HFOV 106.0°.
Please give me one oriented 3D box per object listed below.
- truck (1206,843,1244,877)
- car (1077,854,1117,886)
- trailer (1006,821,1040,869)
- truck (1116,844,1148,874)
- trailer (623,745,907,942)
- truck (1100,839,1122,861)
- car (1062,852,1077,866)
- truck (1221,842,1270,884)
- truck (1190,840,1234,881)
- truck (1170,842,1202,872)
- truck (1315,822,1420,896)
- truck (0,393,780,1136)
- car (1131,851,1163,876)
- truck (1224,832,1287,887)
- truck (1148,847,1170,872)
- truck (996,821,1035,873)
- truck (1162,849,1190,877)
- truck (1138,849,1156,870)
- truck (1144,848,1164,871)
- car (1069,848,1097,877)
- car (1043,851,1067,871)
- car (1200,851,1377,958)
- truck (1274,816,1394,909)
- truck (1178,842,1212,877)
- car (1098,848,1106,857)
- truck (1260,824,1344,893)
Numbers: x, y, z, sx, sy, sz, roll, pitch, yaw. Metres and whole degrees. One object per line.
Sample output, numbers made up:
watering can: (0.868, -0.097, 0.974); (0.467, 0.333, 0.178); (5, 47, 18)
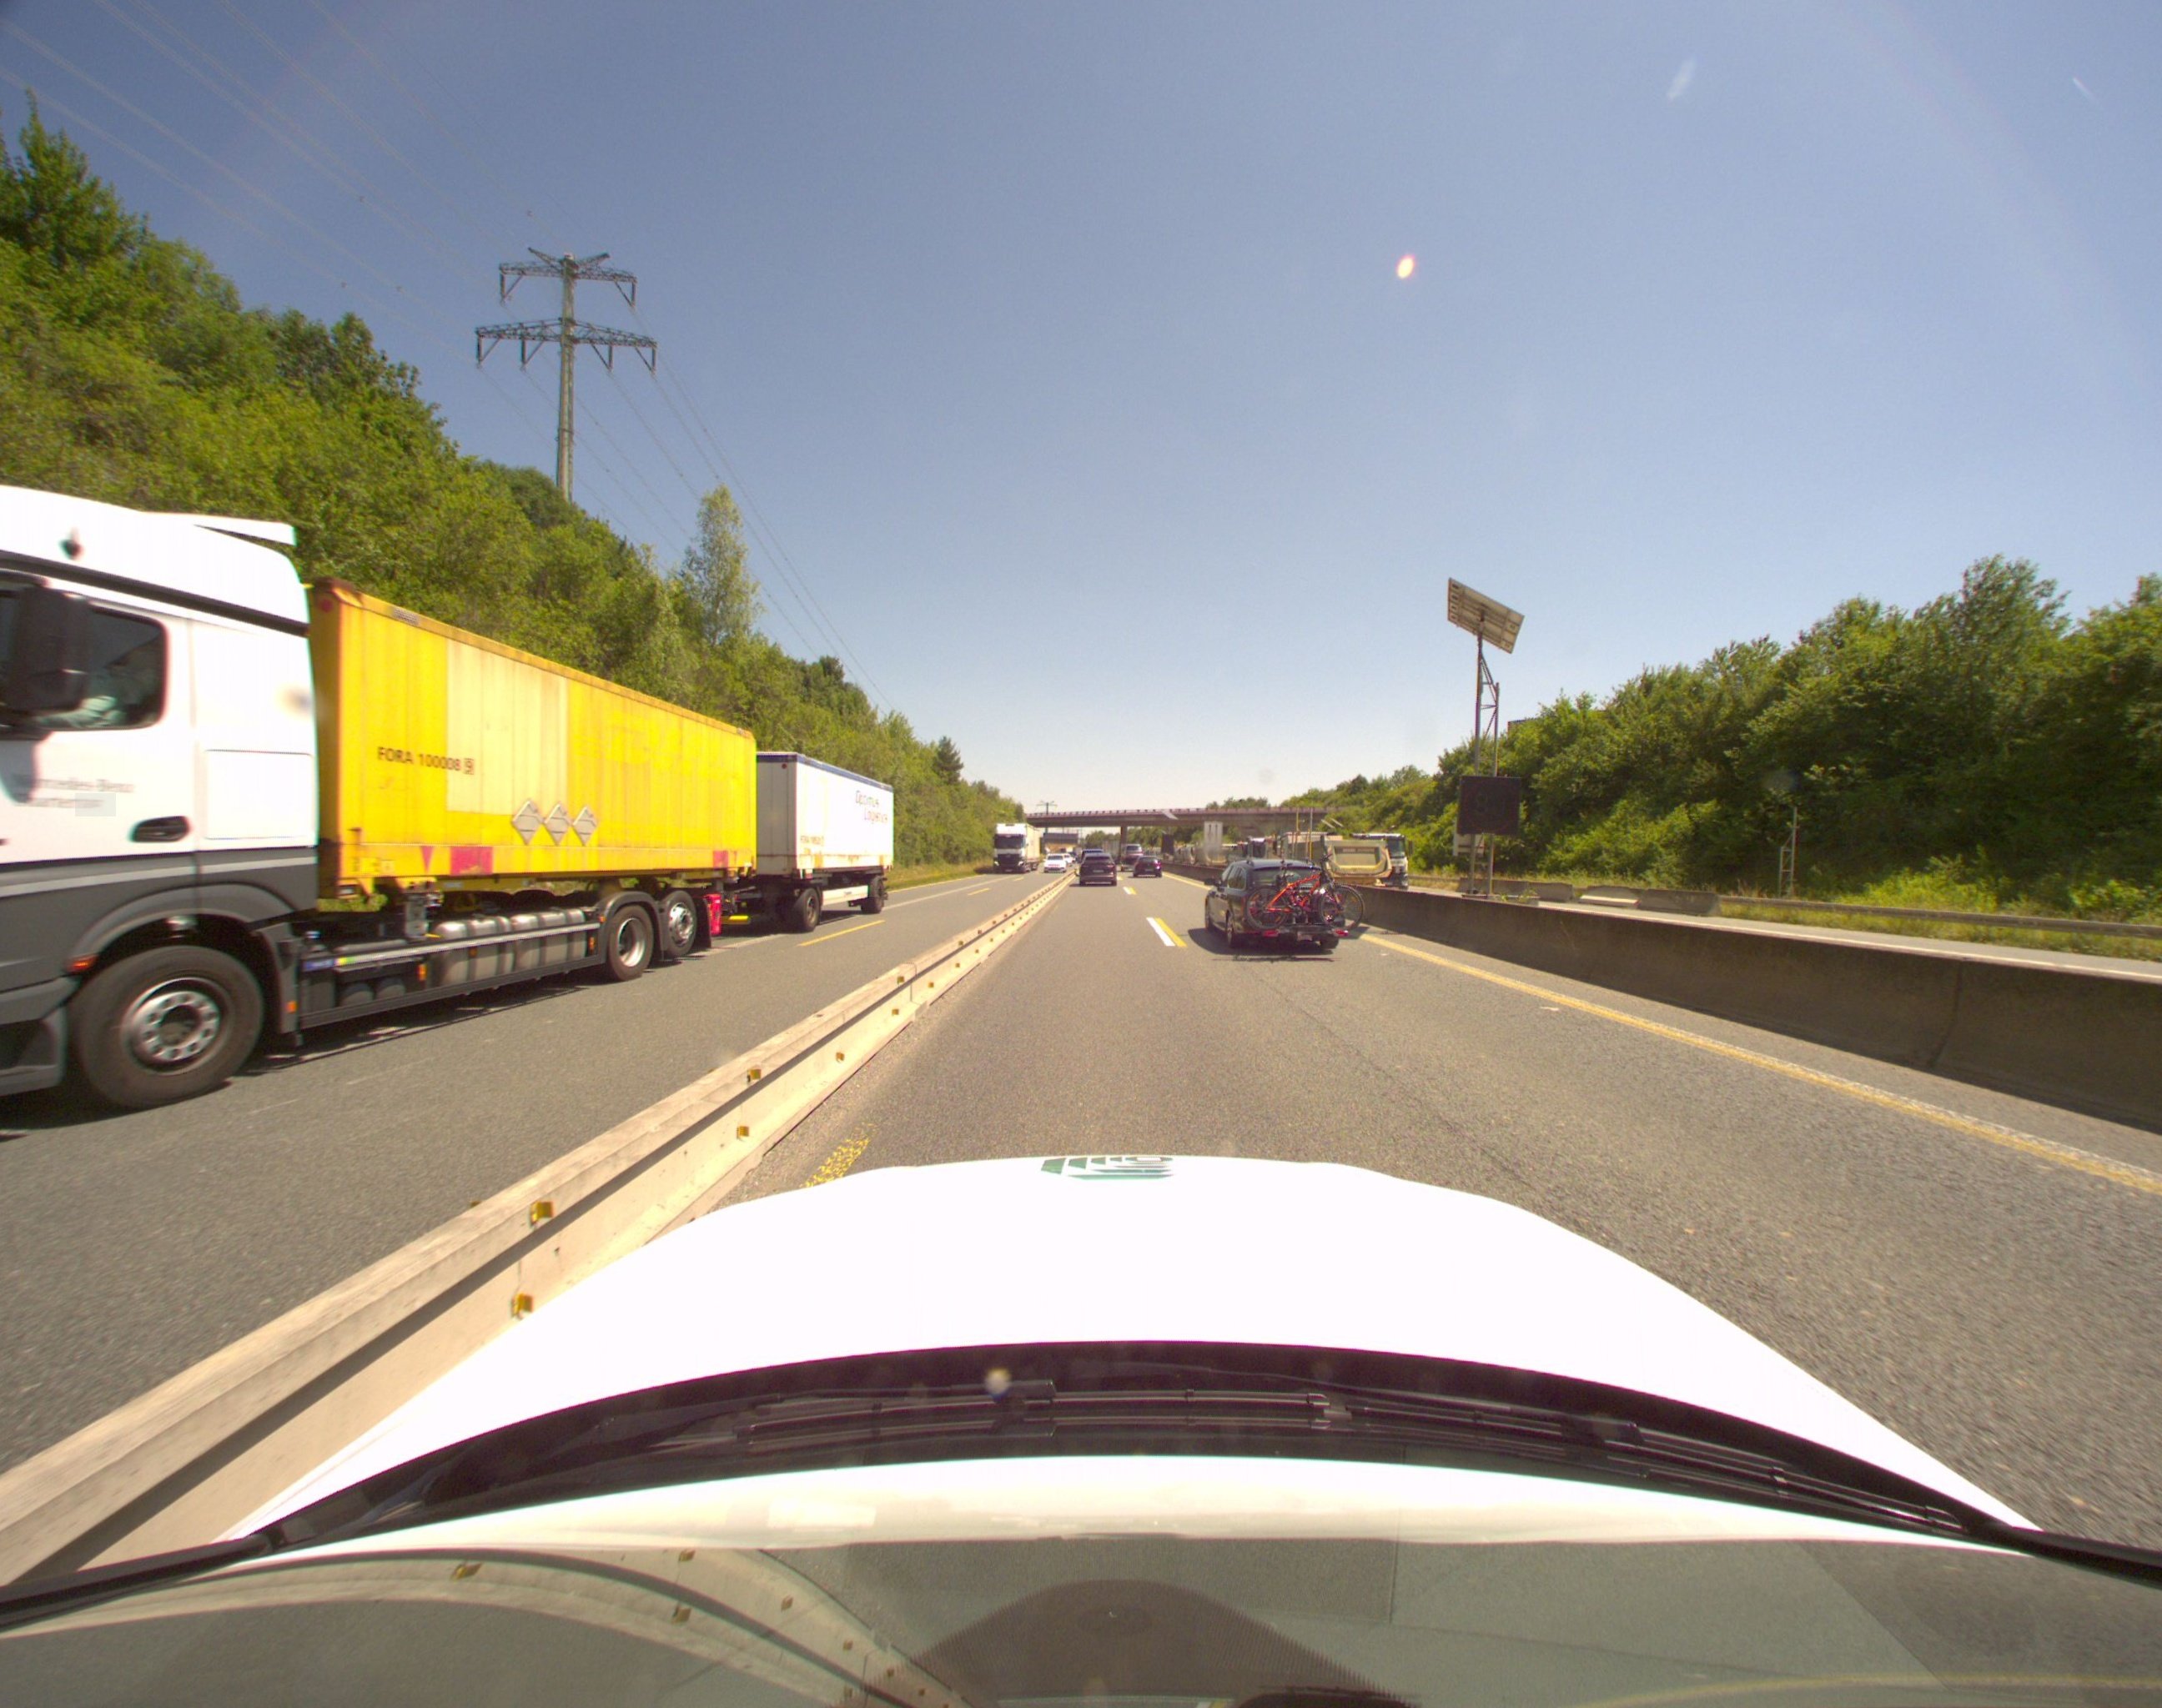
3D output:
truck: (15.162, 0.588, 86.272); (2.677, 3.378, 9.606); (0, 0, 2)
car: (0.829, 0.770, 40.655); (1.892, 1.505, 4.277); (0, 0, 2)
trailer: (-5.417, -0.790, 77.815); (2.629, 4.312, 8.445); (1, 0, 0)
truck: (4.490, 0.420, 72.564); (2.398, 2.558, 7.498); (0, 0, 0)
trailer: (-6.420, -0.191, 18.544); (2.640, 3.336, 8.922); (2, 0, 2)
truck: (5.176, -0.660, 142.921); (3.283, 3.845, 10.104); (0, 0, -1)
car: (-1.399, 0.640, 102.977); (1.757, 1.632, 4.297); (0, 0, 0)
truck: (14.830, 0.761, 74.099); (2.678, 3.557, 9.603); (0, 0, 1)
truck: (12.113, 0.598, 76.027); (2.678, 3.557, 9.604); (0, 0, 1)
truck: (12.821, 0.372, 99.970); (2.678, 3.557, 9.324); (0, 0, 0)
truck: (14.867, 0.223, 43.030); (2.678, 3.511, 8.381); (0, 0, 1)
truck: (-6.720, -0.521, 9.221); (2.639, 3.992, 9.654); (2, 0, 2)
car: (4.358, 0.631, 54.255); (1.892, 1.585, 4.277); (0, 0, 1)
truck: (12.154, 0.346, 57.590); (2.530, 3.557, 9.603); (0, 0, 1)
truck: (12.138, 0.783, 127.332); (2.678, 3.761, 9.324); (0, 0, 0)
truck: (-5.396, -0.527, 68.424); (2.402, 3.992, 10.349); (1, 0, 0)
truck: (12.559, 1.183, 108.886); (2.678, 3.557, 9.324); (0, 0, 0)
truck: (12.260, 0.940, 151.461); (2.678, 3.843, 9.324); (0, 0, 0)
truck: (12.330, 0.911, 138.734); (2.678, 3.856, 9.324); (0, 0, 0)
car: (0.166, 0.580, 58.400); (1.892, 1.968, 4.277); (0, 0, 2)
car: (-2.195, 0.624, 69.291); (1.818, 1.631, 4.151); (0, 0, 1)
car: (3.272, 0.726, 13.881); (1.892, 1.490, 4.949); (0, 0, 2)
truck: (10.672, 0.330, 35.381); (2.524, 3.511, 9.097); (0, 0, 1)
truck: (12.261, 0.537, 88.295); (2.677, 3.557, 9.408); (0, 0, 1)
car: (4.625, -0.386, 178.115); (1.892, 1.968, 4.277); (0, 0, 2)
truck: (12.203, 0.236, 45.801); (2.523, 3.511, 8.948); (0, 0, 2)
